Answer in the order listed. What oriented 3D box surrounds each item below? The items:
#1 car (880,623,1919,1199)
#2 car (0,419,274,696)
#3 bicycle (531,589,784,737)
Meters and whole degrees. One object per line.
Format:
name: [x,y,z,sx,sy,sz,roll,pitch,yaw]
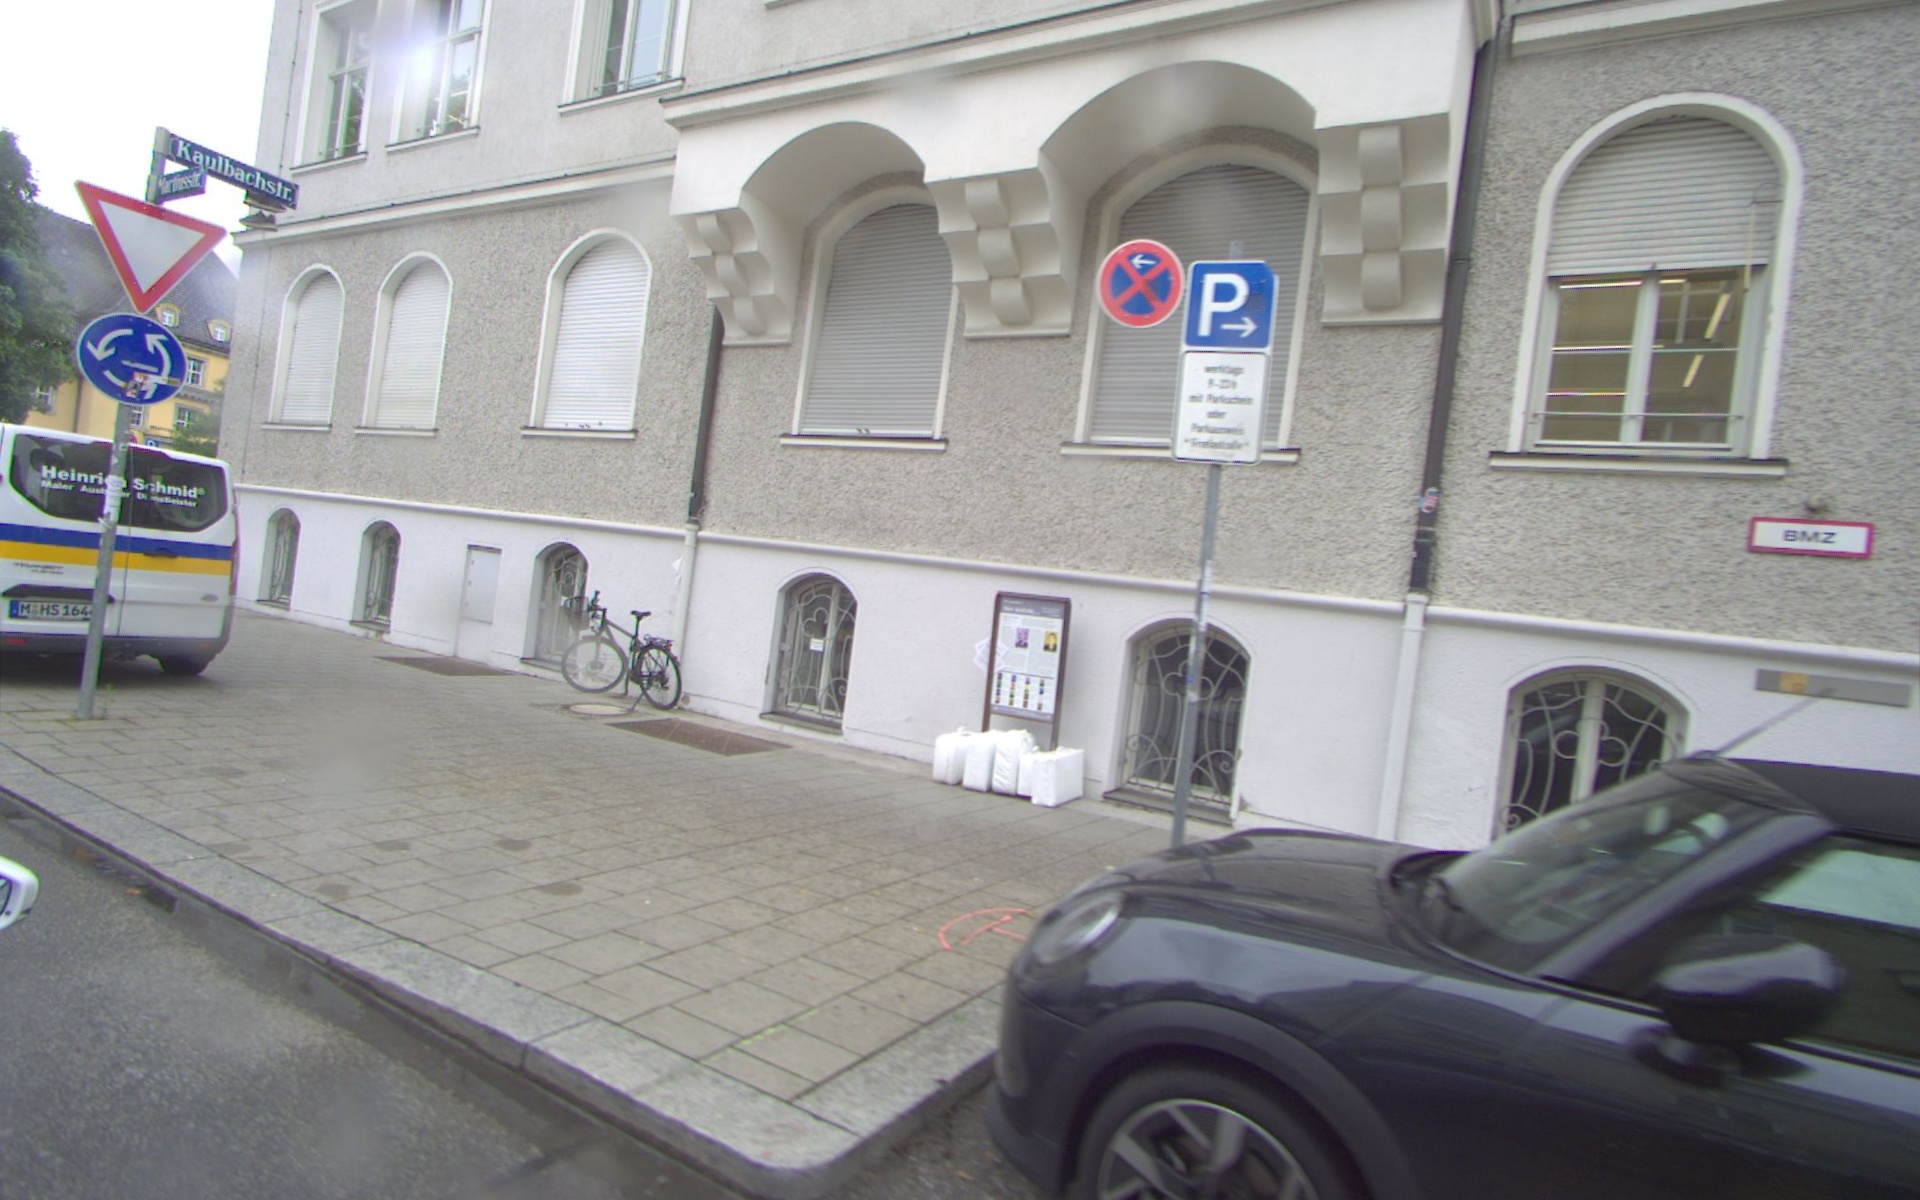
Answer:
car: [1.918,1.047,2.292,3.763,1.462,1.715,7,-1,30]
car: [-8.683,-0.524,9.009,5.282,1.946,1.941,7,1,29]
bicycle: [-3.200,0.594,10.493,2.711,1.128,0.839,7,3,30]
